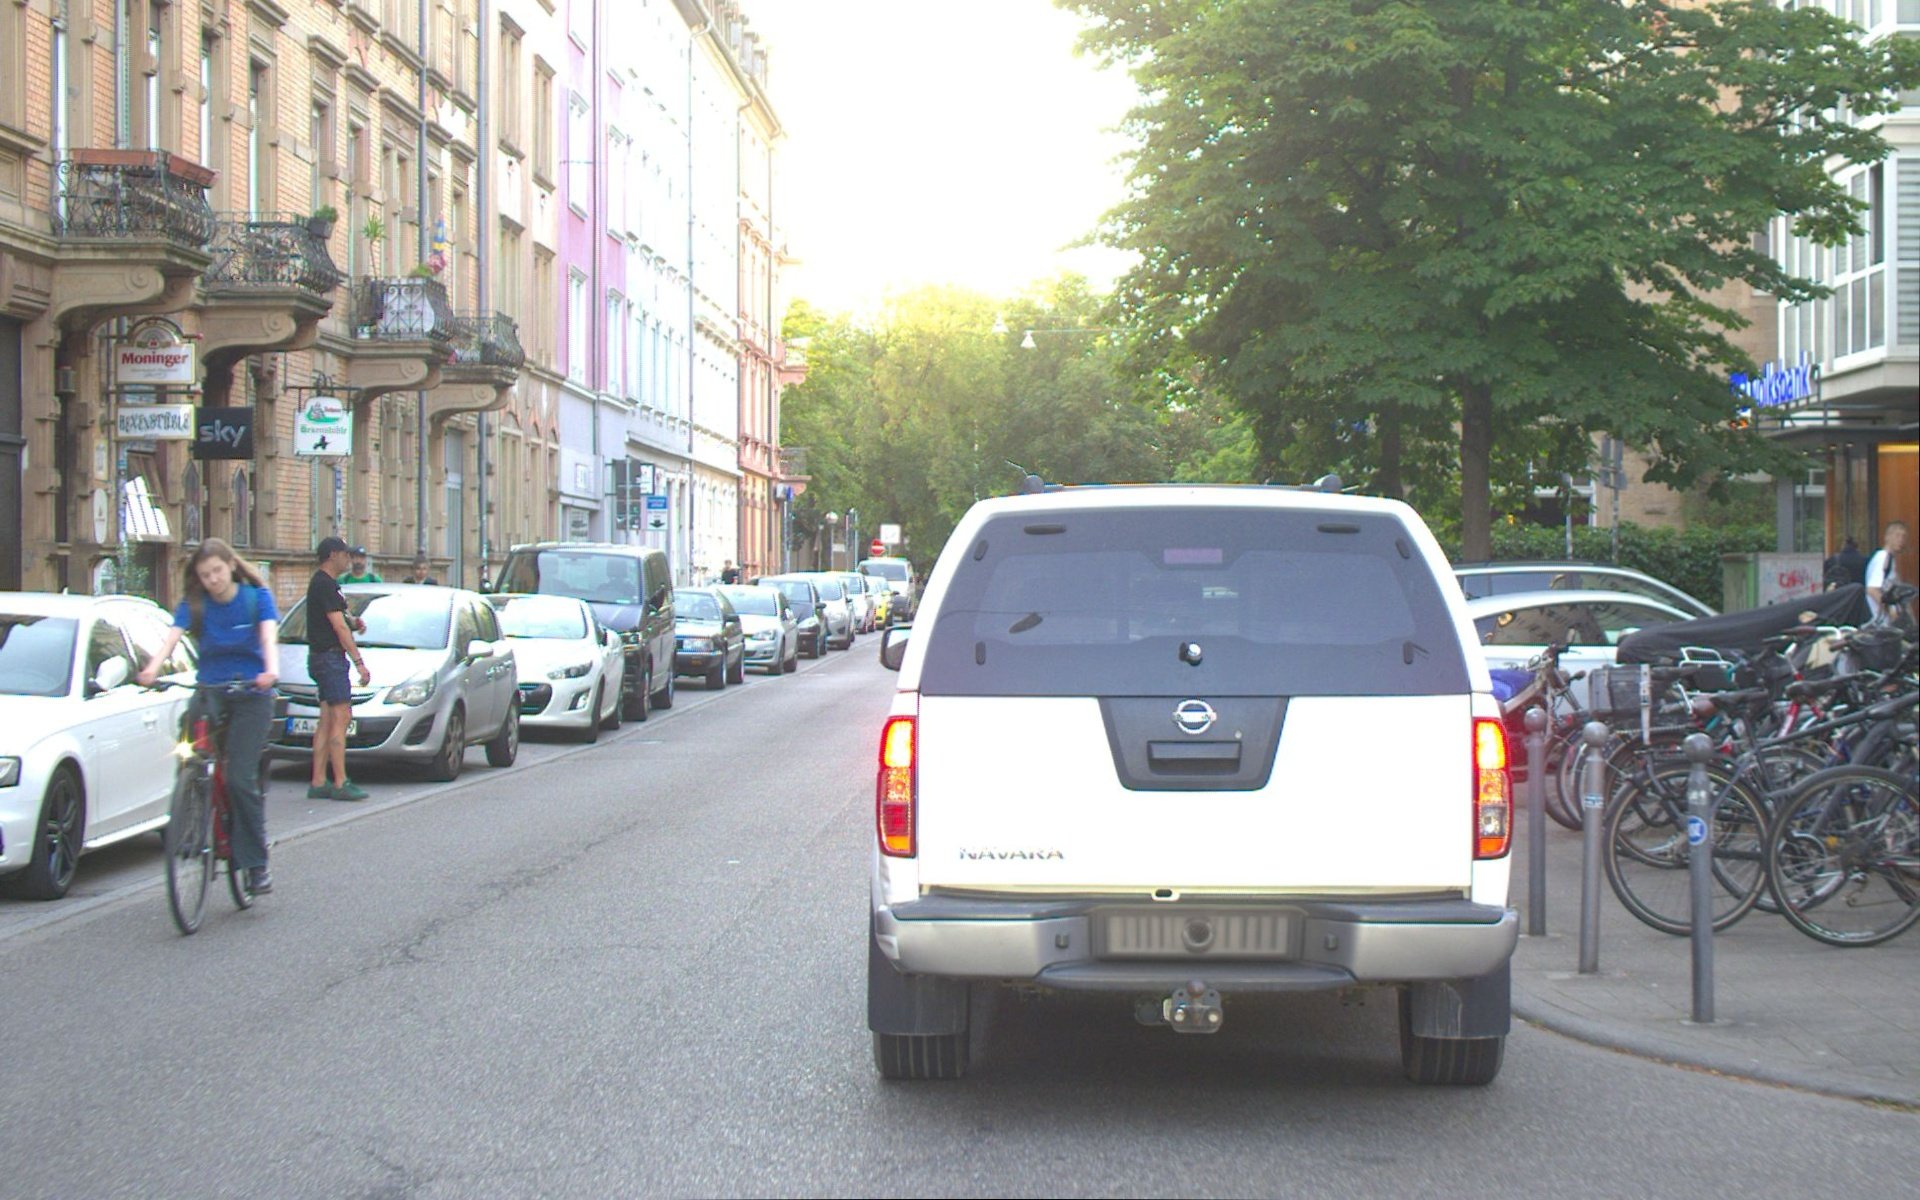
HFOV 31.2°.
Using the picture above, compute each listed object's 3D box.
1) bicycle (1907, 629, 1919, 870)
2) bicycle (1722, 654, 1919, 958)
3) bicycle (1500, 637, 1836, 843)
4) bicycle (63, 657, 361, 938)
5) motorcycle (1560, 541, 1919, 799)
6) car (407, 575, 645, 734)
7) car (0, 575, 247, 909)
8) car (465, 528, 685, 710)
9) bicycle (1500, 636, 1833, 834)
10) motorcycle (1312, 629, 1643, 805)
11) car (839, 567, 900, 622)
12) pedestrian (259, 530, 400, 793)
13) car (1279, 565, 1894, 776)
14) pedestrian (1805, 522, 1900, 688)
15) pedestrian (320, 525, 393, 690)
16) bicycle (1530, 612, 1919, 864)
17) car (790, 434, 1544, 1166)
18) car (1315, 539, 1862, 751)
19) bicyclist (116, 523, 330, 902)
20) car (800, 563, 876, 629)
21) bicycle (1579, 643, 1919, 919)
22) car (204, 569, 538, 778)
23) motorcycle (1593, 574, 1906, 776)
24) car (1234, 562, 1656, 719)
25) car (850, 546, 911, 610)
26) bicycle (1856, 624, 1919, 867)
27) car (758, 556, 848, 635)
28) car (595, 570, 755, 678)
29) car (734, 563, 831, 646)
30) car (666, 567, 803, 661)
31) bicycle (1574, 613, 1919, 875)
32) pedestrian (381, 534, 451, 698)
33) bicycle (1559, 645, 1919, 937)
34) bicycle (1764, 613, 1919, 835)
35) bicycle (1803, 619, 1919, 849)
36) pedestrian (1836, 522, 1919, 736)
[{"bbox_3d":[5.271,0.666,15.660,1.722,1.114,0.653,-2,0,5],"label":"bicycle"},{"bbox_3d":[3.885,0.768,13.283,1.722,1.114,0.707,-2,0,5],"label":"bicycle"},{"bbox_3d":[3.960,0.777,19.319,1.720,1.028,0.667,-4,-1,5],"label":"bicycle"},{"bbox_3d":[-3.256,0.830,15.179,0.645,1.077,2.168,-1,1,5],"label":"bicycle"},{"bbox_3d":[5.176,0.438,22.042,2.492,1.544,0.824,-2,0,5],"label":"motorcycle"},{"bbox_3d":[-4.300,0.500,34.663,1.783,1.418,4.485,2,1,0],"label":"car"},{"bbox_3d":[-5.051,0.612,17.502,1.758,1.407,4.508,1,1,2],"label":"car"},{"bbox_3d":[-4.388,0.181,39.889,1.993,1.917,4.951,2,1,-1],"label":"car"},{"bbox_3d":[4.077,0.777,19.930,1.773,1.019,0.565,-4,-1,5],"label":"bicycle"},{"bbox_3d":[3.462,0.768,23.015,2.057,1.074,0.664,-2,0,-13],"label":"motorcycle"},{"bbox_3d":[-2.666,-0.176,102.213,1.698,1.547,4.022,2,0,-1],"label":"car"},{"bbox_3d":[-4.303,0.413,23.499,0.554,1.749,1.021,1,-1,14],"label":"pedestrian"},{"bbox_3d":[4.867,0.524,27.066,4.422,1.450,1.780,-2,1,-4],"label":"car"},{"bbox_3d":[9.409,0.051,36.268,0.727,1.710,0.963,-2,0,2],"label":"pedestrian"},{"bbox_3d":[-6.663,0.069,37.994,0.580,1.765,0.998,3,1,-2],"label":"pedestrian"},{"bbox_3d":[3.971,0.710,17.938,1.869,1.178,0.742,-4,-1,7],"label":"bicycle"},{"bbox_3d":[0.710,0.488,11.526,1.911,1.847,5.270,1,1,4],"label":"car"},{"bbox_3d":[5.373,0.368,29.812,4.399,1.642,1.746,-2,1,2],"label":"car"},{"bbox_3d":[-3.256,0.480,15.253,0.645,1.615,0.918,-1,1,5],"label":"bicyclist"},{"bbox_3d":[-3.176,-0.116,90.168,1.698,1.615,4.022,2,0,1],"label":"car"},{"bbox_3d":[3.675,0.767,14.935,1.809,1.114,0.707,-2,0,0],"label":"bicycle"},{"bbox_3d":[-4.558,0.521,27.160,1.717,1.452,4.000,2,1,3],"label":"car"},{"bbox_3d":[5.743,0.535,25.071,2.057,1.365,0.717,-2,1,-2],"label":"motorcycle"},{"bbox_3d":[4.883,0.391,35.004,3.987,1.451,1.828,-2,1,0],"label":"car"},{"bbox_3d":[-2.570,-0.713,110.353,1.810,1.970,4.187,2,0,-2],"label":"car"},{"bbox_3d":[5.182,0.657,16.234,1.722,1.114,0.653,-2,0,5],"label":"bicycle"},{"bbox_3d":[-3.363,-0.111,74.303,1.844,1.653,4.253,0,0,-1],"label":"car"},{"bbox_3d":[-4.020,0.328,49.149,1.737,1.413,4.778,2,0,1],"label":"car"},{"bbox_3d":[-3.480,0.066,68.054,1.636,1.560,3.781,1,1,1],"label":"car"},{"bbox_3d":[-3.781,0.216,58.211,1.834,1.453,4.206,3,0,2],"label":"car"},{"bbox_3d":[4.013,0.708,17.093,1.789,1.178,0.733,-4,-1,13],"label":"bicycle"},{"bbox_3d":[-6.041,0.173,38.198,0.605,1.766,0.777,3,1,-2],"label":"pedestrian"},{"bbox_3d":[3.408,0.770,14.163,1.722,1.114,0.707,-2,0,0],"label":"bicycle"},{"bbox_3d":[5.176,0.626,18.039,1.722,1.114,0.654,-2,0,-1],"label":"bicycle"},{"bbox_3d":[5.207,0.643,17.316,1.722,1.114,0.654,-2,0,-1],"label":"bicycle"},{"bbox_3d":[7.696,0.240,28.515,0.625,1.747,0.588,1,-1,-9],"label":"pedestrian"}]
